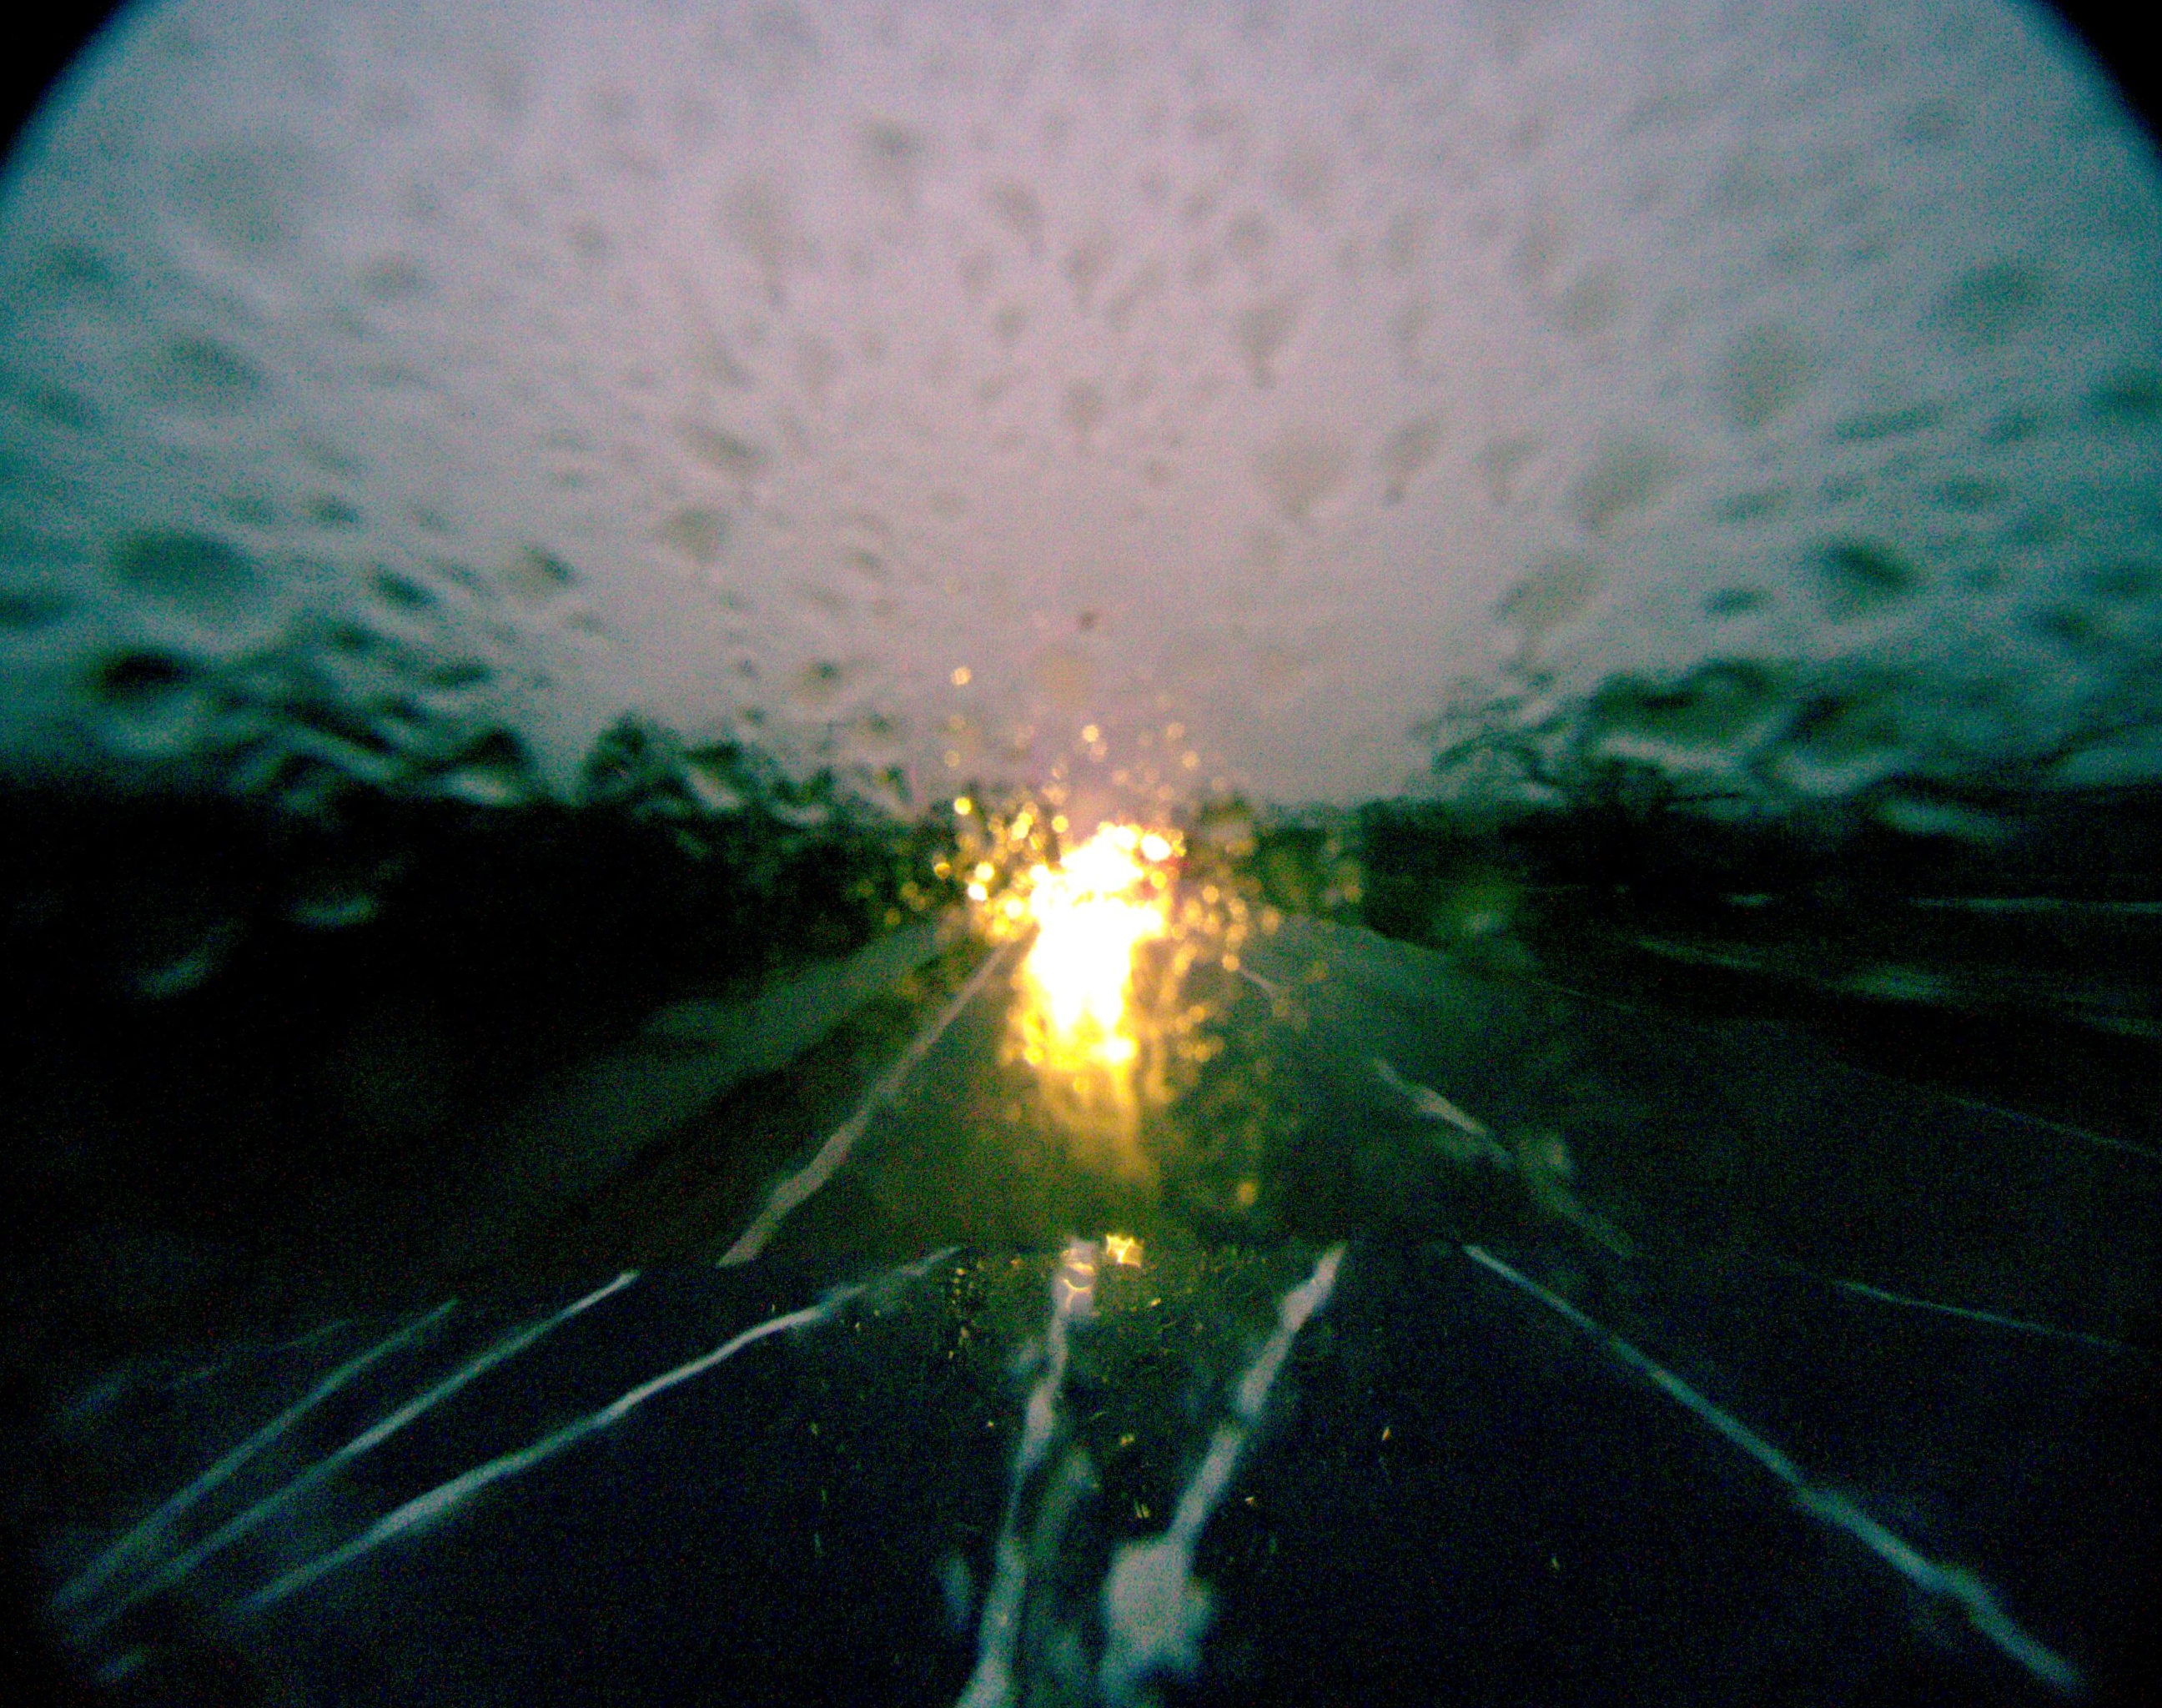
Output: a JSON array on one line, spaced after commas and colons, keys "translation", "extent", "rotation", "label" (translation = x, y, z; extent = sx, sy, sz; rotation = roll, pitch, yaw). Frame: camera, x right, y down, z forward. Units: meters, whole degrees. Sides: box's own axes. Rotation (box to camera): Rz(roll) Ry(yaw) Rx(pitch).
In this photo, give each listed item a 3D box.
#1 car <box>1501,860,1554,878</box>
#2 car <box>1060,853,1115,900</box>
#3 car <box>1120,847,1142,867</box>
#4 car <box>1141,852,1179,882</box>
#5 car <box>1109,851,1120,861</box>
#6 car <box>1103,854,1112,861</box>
[{"translation": [35.882, 1.184, 61.089], "extent": [3.453, 1.334, 1.597], "rotation": [-2, 1, -13], "label": "car"}, {"translation": [0.265, 0.774, 28.176], "extent": [1.860, 1.604, 4.000], "rotation": [-1, 0, 1], "label": "car"}, {"translation": [4.724, 0.287, 72.287], "extent": [1.829, 1.796, 4.493], "rotation": [1, 0, 0], "label": "car"}, {"translation": [4.098, 0.654, 40.058], "extent": [1.692, 1.471, 3.773], "rotation": [0, 0, 1], "label": "car"}, {"translation": [5.661, 0.335, 129.500], "extent": [1.766, 1.546, 4.000], "rotation": [0, 0, 1], "label": "car"}, {"translation": [6.018, 0.747, 174.166], "extent": [1.860, 1.508, 4.515], "rotation": [1, 0, -2], "label": "car"}]
